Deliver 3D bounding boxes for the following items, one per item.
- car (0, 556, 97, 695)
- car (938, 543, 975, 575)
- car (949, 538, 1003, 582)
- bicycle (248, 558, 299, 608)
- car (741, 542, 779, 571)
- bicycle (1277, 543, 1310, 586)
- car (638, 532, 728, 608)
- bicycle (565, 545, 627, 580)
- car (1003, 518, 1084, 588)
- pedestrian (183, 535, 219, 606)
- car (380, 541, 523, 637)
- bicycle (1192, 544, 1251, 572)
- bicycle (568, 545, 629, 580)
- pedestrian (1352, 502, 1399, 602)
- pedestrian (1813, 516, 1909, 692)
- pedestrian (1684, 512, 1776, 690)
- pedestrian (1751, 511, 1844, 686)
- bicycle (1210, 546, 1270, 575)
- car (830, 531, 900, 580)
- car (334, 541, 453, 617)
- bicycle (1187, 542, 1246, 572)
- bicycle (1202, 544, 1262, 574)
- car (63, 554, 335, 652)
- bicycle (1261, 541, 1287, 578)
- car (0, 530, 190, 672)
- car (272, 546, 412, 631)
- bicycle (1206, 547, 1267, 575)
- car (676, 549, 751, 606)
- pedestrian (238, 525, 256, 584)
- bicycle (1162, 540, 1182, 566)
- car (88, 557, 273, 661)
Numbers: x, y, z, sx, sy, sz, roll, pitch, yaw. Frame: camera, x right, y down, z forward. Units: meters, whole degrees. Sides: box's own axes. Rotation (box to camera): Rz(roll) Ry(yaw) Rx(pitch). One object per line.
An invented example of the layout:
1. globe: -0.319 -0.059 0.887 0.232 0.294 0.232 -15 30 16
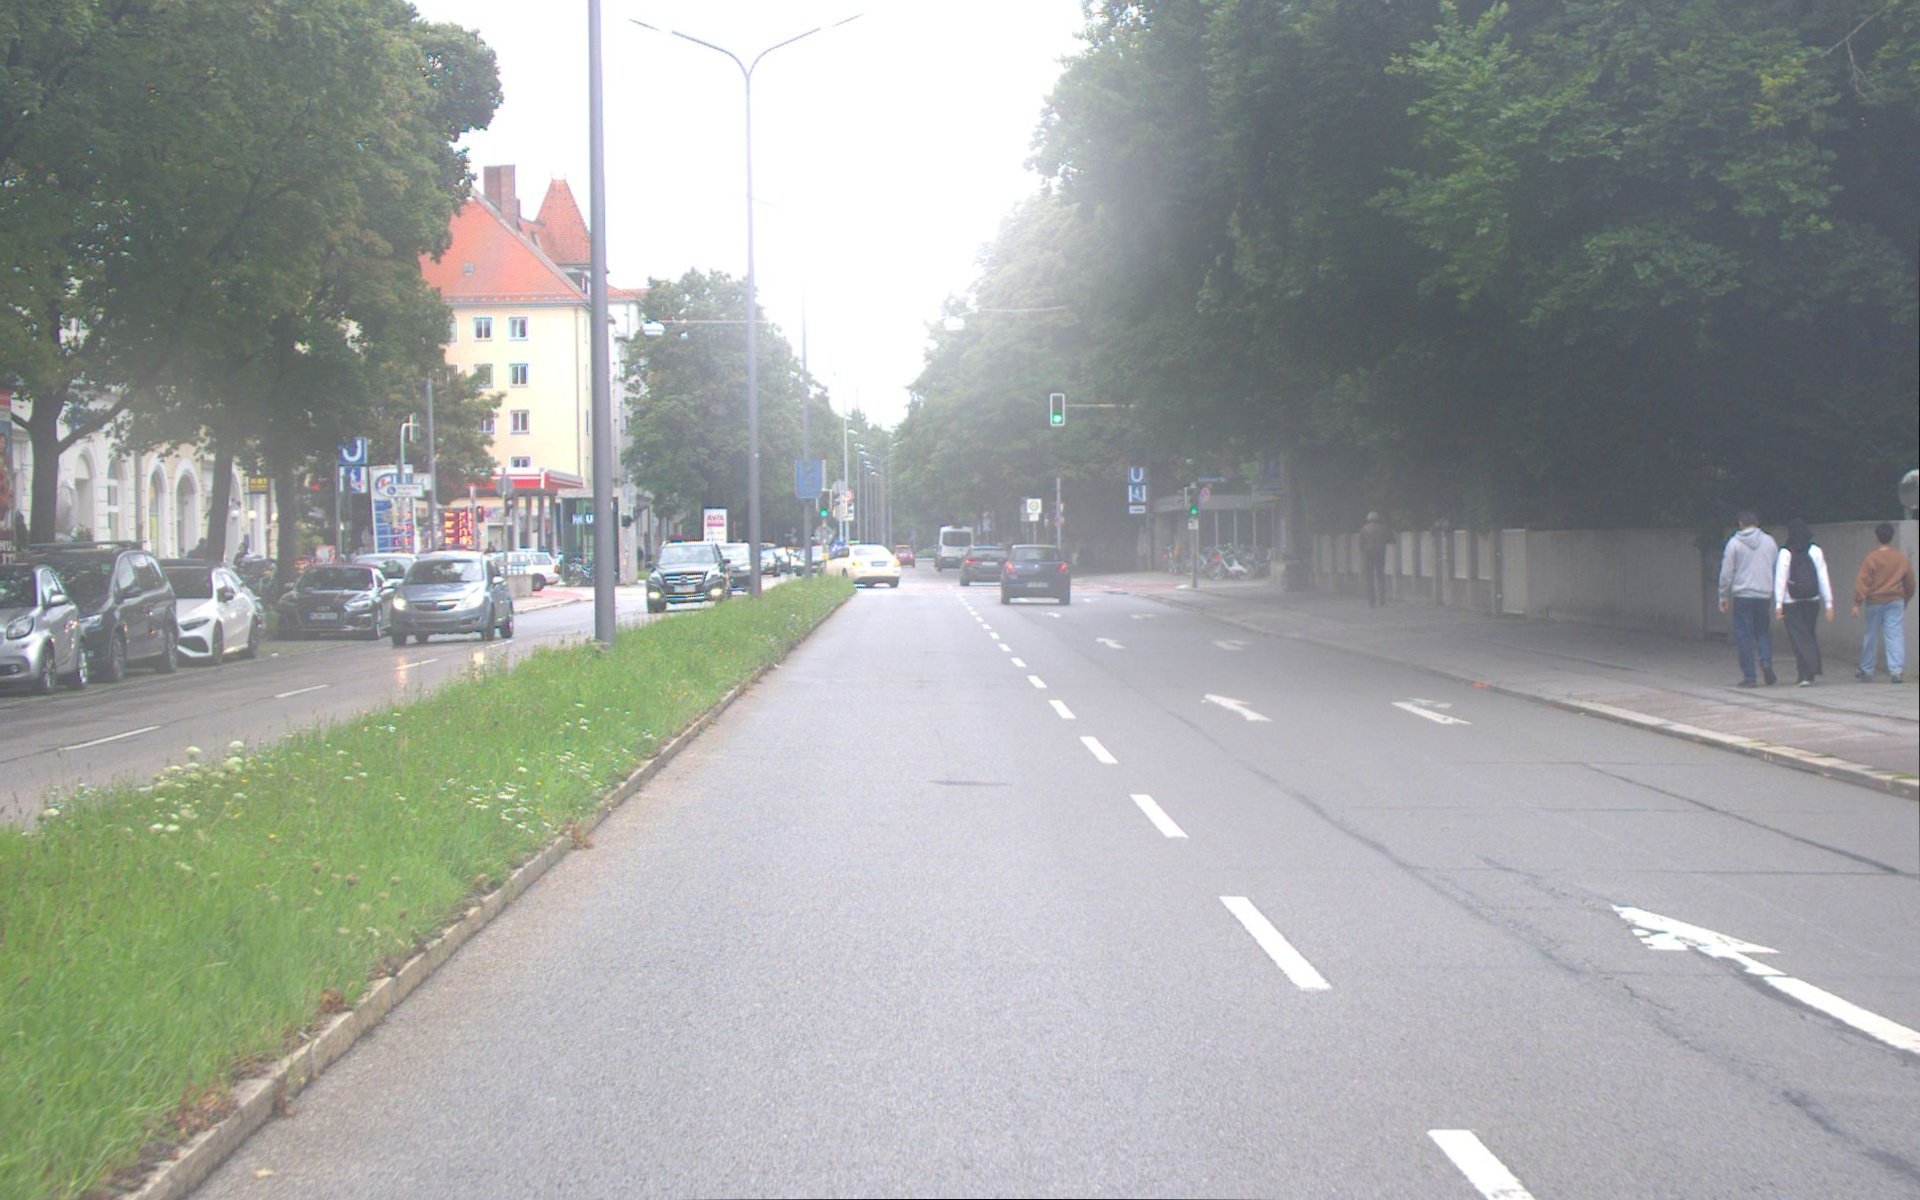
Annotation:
1. car: -11.266 0.272 40.144 1.726 1.552 3.010 0 1 -3
2. car: -0.222 -2.311 192.956 1.993 1.750 4.000 -1 1 -1
3. car: 0.541 -1.409 120.211 1.779 1.469 3.893 1 1 -1
4. bicycle: -15.618 -0.401 78.156 0.457 1.111 1.966 -1 1 -32
5. car: -10.151 -2.219 174.950 1.759 1.455 4.000 -1 1 -1
6. bicycle: 8.554 -0.913 88.190 0.622 1.087 2.026 -1 1 -1
7. car: -6.497 -0.730 80.994 1.769 1.673 4.369 -2 1 -1
8. bicycle: -13.986 -1.432 132.188 2.271 1.300 0.704 -1 1 1
9. car: 2.066 -1.181 85.840 1.857 1.678 4.000 -1 1 -1
10. pedestrian: -18.231 -0.722 82.592 0.591 1.691 0.946 -1 1 -28
11. car: -8.579 -0.210 58.262 1.810 1.502 4.057 -2 1 -1
12. bicycle: 9.654 -1.549 127.044 2.143 1.011 0.603 0 1 8
13. bicycle: -13.972 -1.456 132.935 2.285 1.300 0.694 -1 1 1
14. pedestrian: 8.195 -0.947 67.815 0.777 1.935 0.802 -2 1 0
15. pedestrian: 8.967 0.032 34.238 0.666 1.699 0.766 -3 1 -2
16. pedestrian: 7.628 0.007 34.077 0.666 1.716 0.729 -3 1 -2
17. pedestrian: 8.303 -0.024 34.103 0.666 1.687 0.729 -3 1 -2
18. bicycle: 10.173 -1.431 124.872 2.143 1.011 0.634 0 1 8
19. car: -3.265 -1.525 117.438 1.778 1.641 4.782 -1 1 -9
20. car: -11.579 -0.455 70.422 1.810 1.502 3.960 0 1 -1
21. bicycle: 9.535 -1.594 127.783 2.143 1.082 0.603 0 1 8
22. bicycle: 9.940 -1.501 125.676 2.143 1.067 0.603 0 1 8
23. car: -11.890 0.033 53.894 3.889 1.459 1.732 -1 1 -2
24. bicycle: 9.440 -1.214 103.336 0.599 1.117 1.890 -1 0 0
25. car: -11.380 -0.027 44.420 1.810 1.722 4.767 -1 1 -1
26. car: -11.473 -0.239 64.125 1.810 1.502 4.646 0 1 -1
27. bicycle: 9.994 -1.410 124.337 2.143 1.011 0.603 0 1 8
28. car: -7.347 -0.693 102.853 1.875 1.579 4.621 -3 1 0
29. pedestrian: -19.840 -1.267 95.641 0.421 1.626 0.783 -1 1 -16
30. bicycle: 8.213 -1.833 133.322 0.556 1.011 2.016 -1 1 -3
31. car: -11.347 0.101 50.308 1.726 1.398 4.404 -1 1 -1
